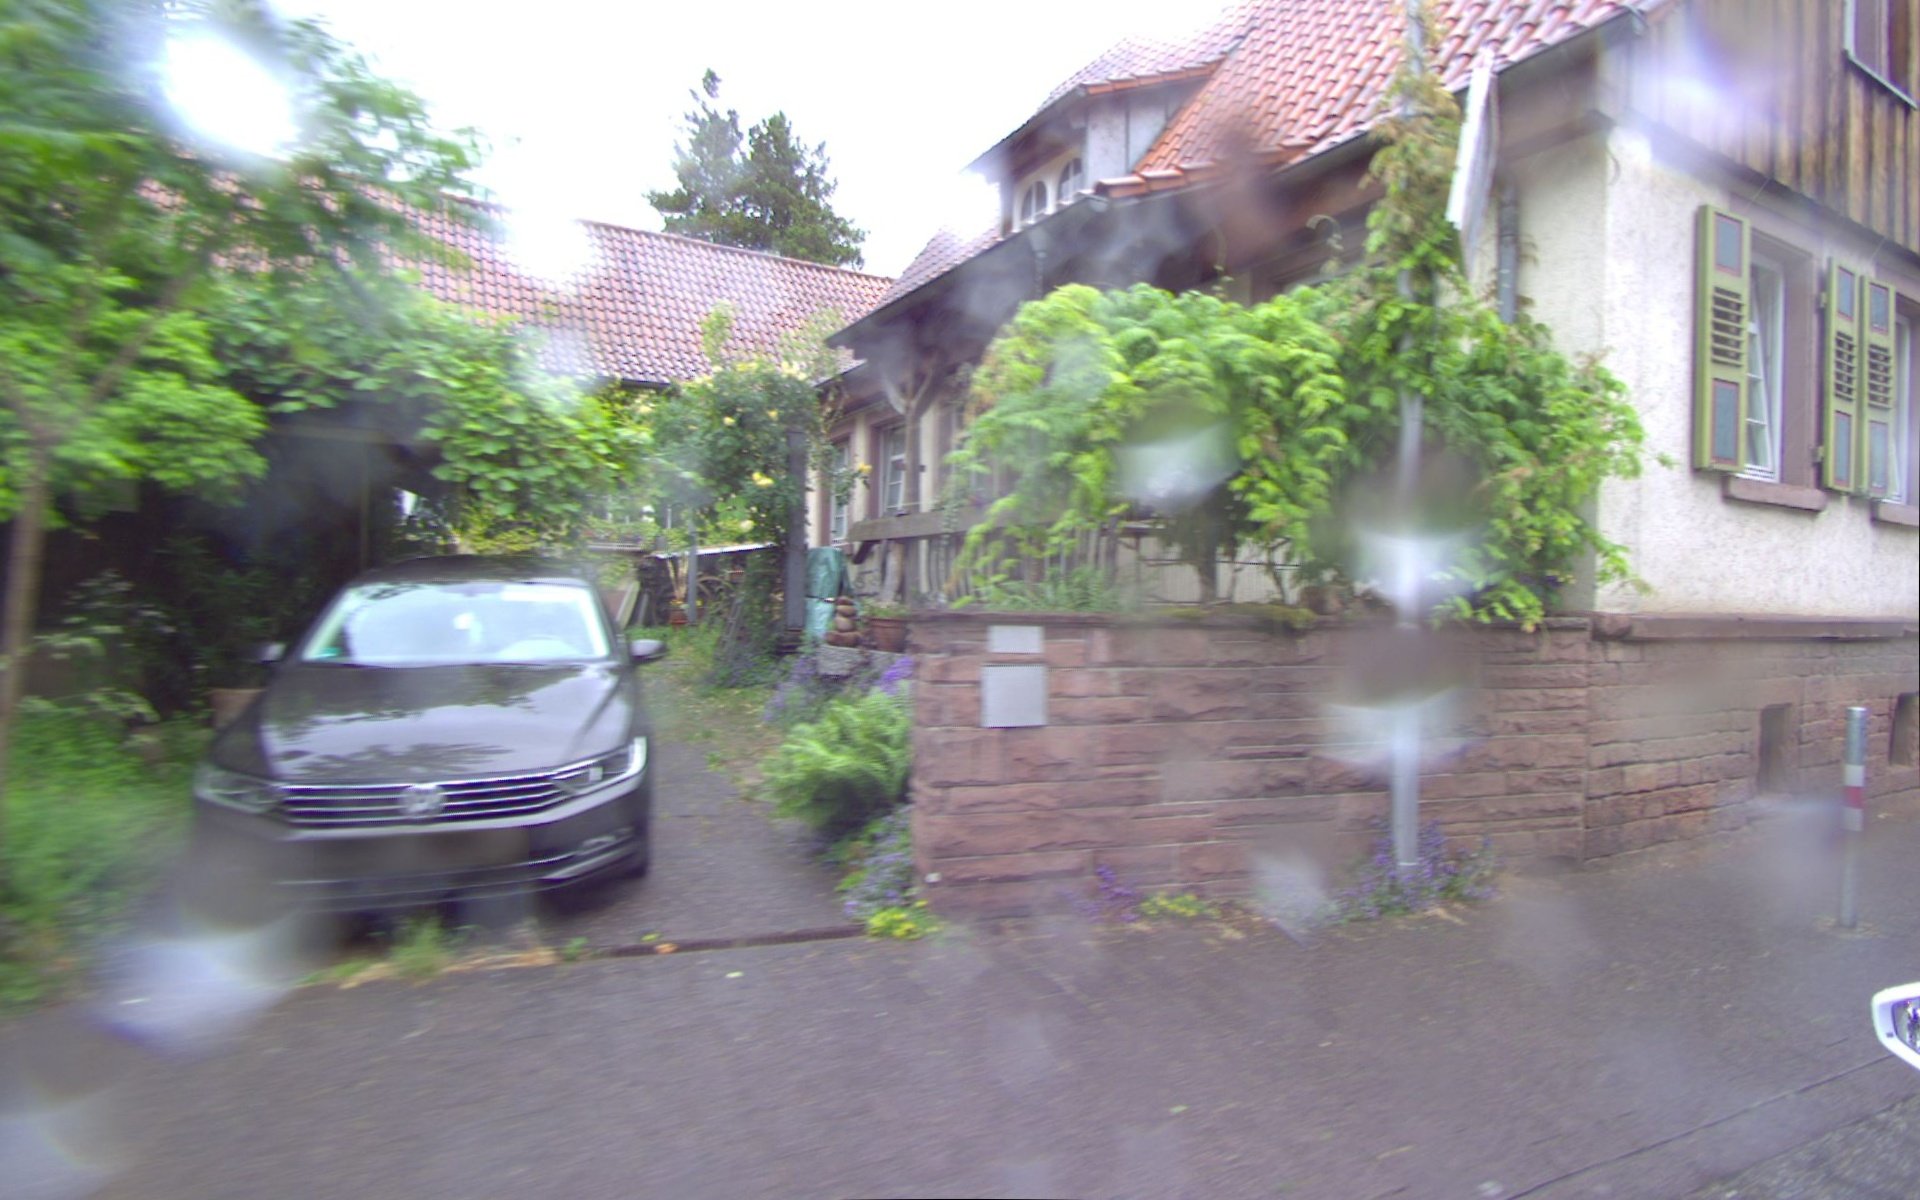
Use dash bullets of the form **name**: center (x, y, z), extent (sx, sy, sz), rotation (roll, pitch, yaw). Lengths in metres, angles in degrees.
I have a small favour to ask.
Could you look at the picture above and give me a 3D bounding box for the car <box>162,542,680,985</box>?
- **car**: center (-2.608, 0.496, 5.652), extent (1.709, 1.445, 3.981), rotation (2, 4, -19)
